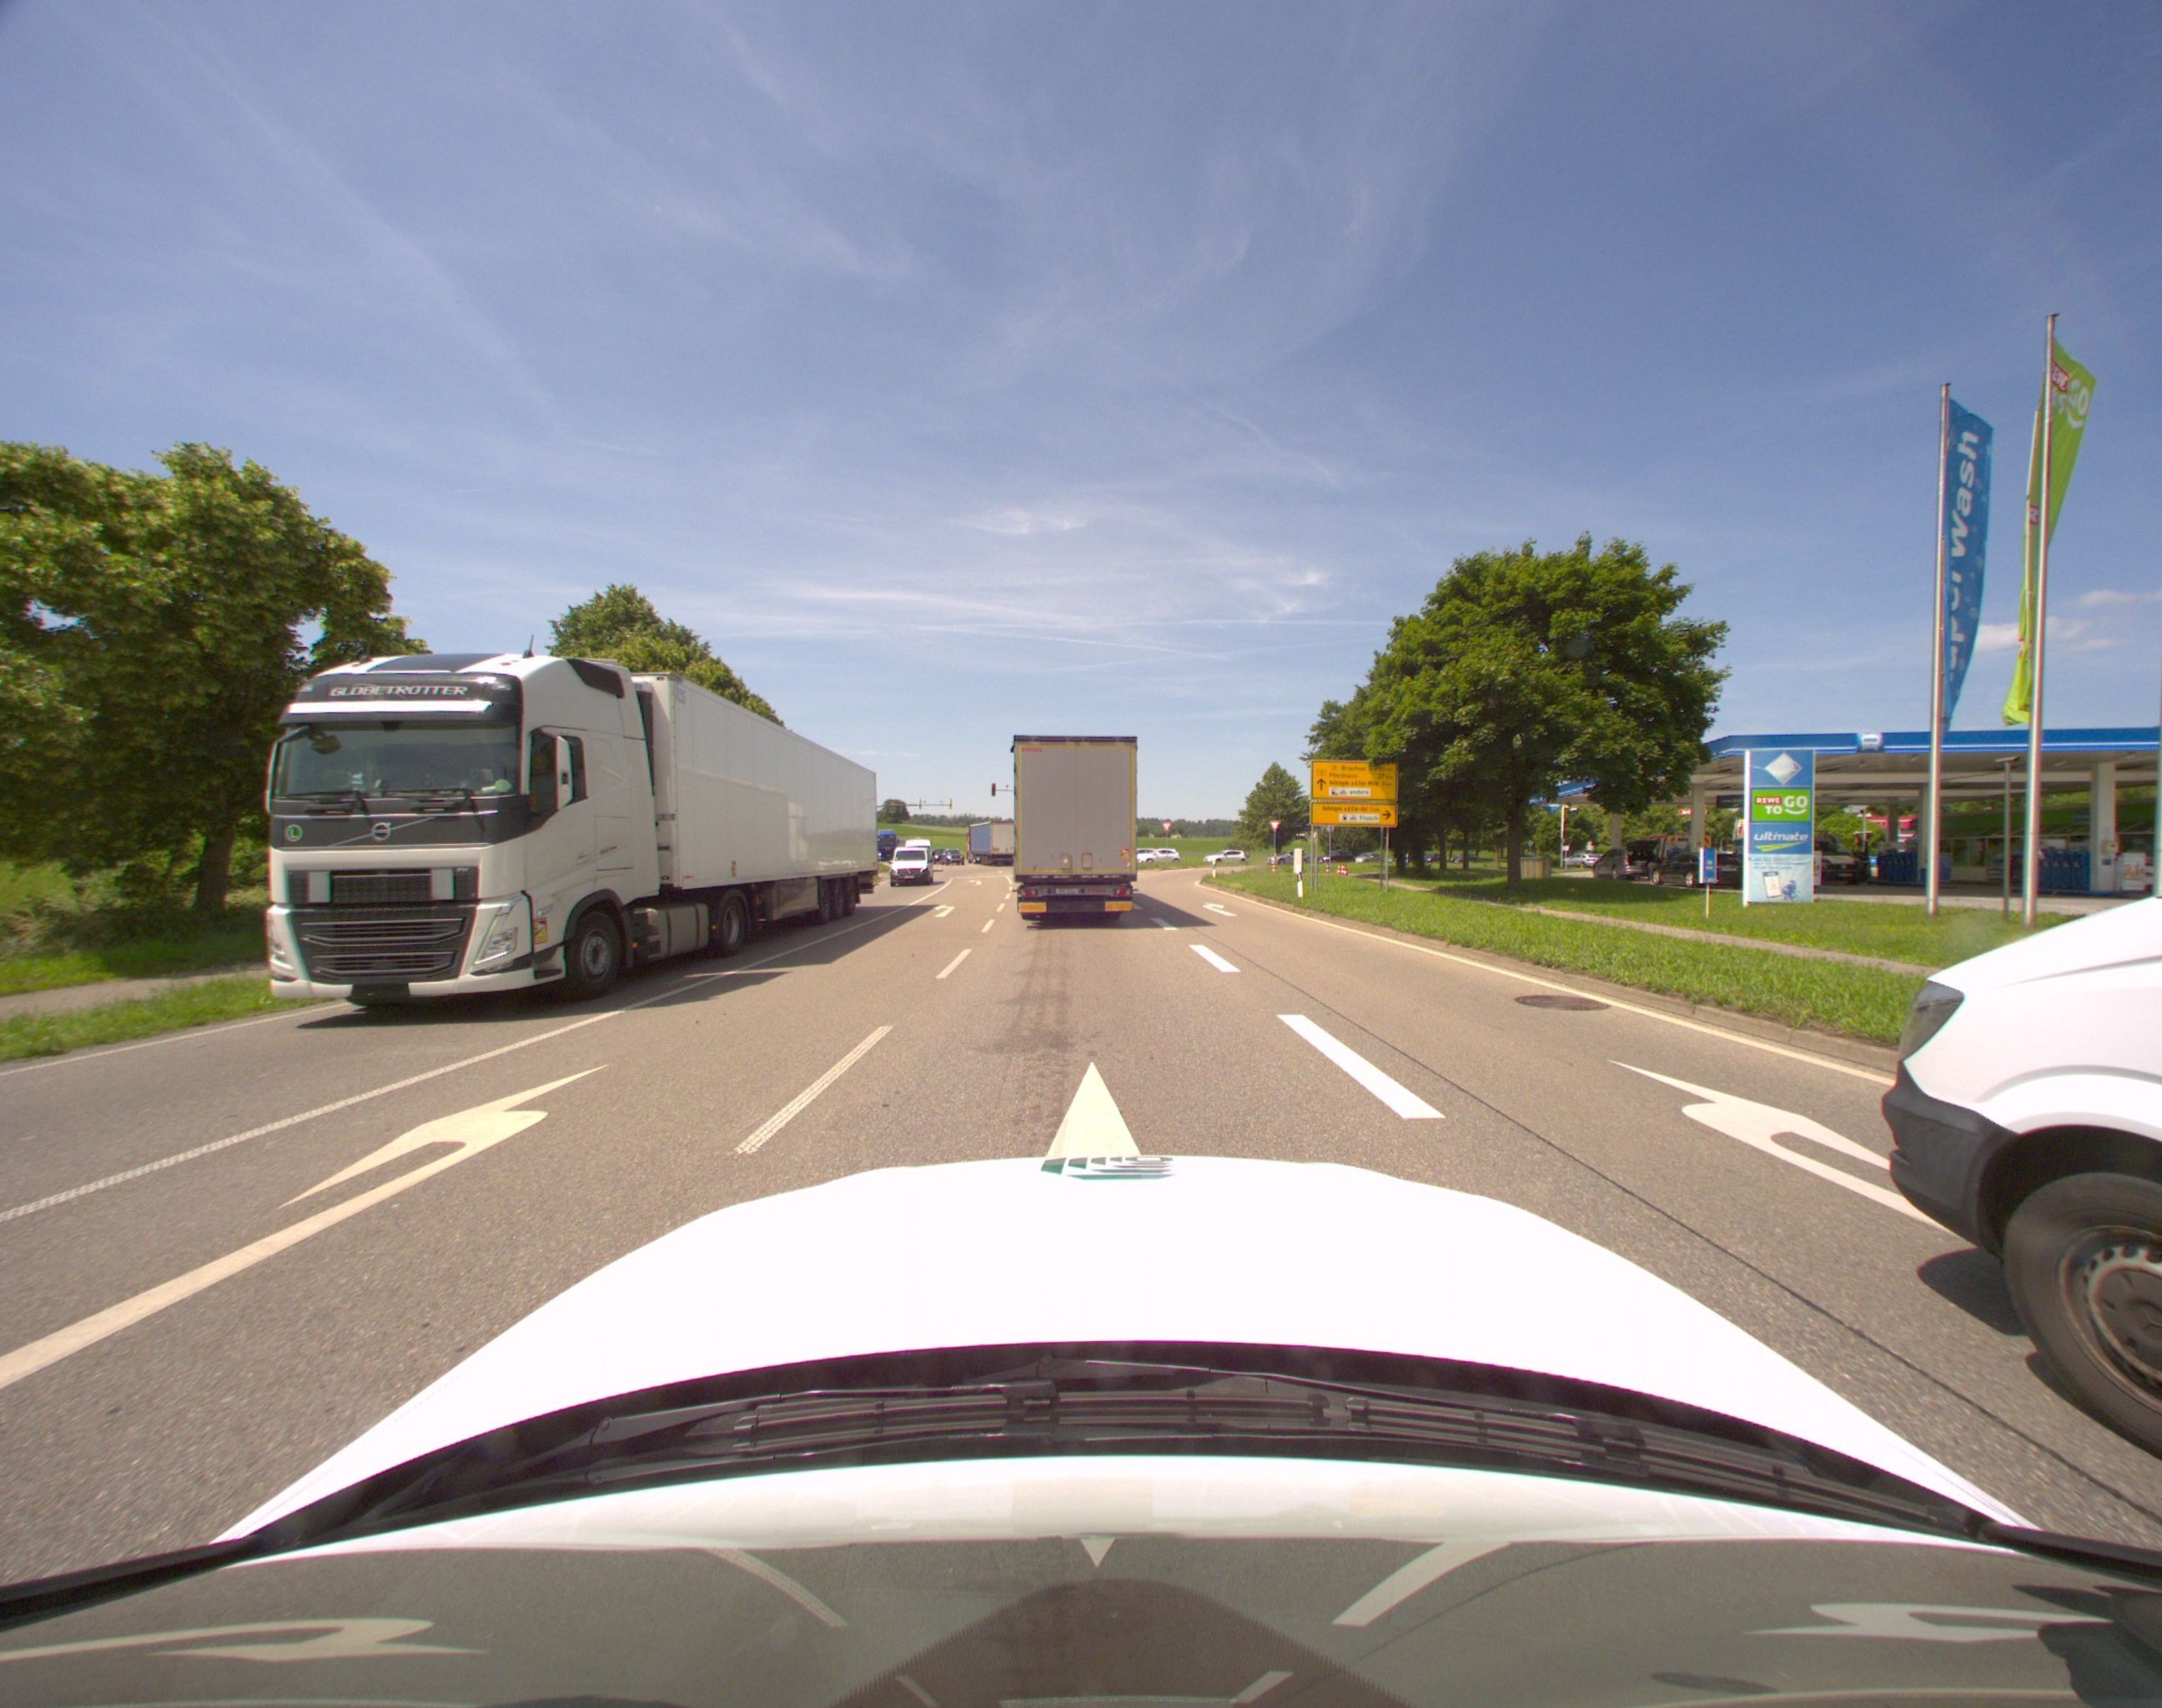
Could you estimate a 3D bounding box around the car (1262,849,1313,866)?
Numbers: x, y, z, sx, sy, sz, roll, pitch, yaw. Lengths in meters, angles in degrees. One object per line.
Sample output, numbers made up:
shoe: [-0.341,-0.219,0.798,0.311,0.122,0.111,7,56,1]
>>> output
car: [19.743,0.367,77.853,4.567,1.510,1.786,1,-2,-24]

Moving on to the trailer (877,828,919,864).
trailer: [-22.193,-0.991,97.953,2.577,4.029,13.492,-1,1,-23]

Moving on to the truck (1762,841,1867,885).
truck: [35.999,0.452,40.148,1.978,2.014,4.833,-1,-1,17]

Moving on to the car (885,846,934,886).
car: [-8.595,0.551,41.204,1.870,1.865,5.131,-1,0,-6]

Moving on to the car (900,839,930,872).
car: [-13.192,0.069,64.587,2.054,2.452,5.244,-2,1,-13]

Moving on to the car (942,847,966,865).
car: [-12.693,0.187,81.236,1.775,1.658,3.978,-1,0,-16]

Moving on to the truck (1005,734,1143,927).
truck: [-0.300,-0.484,21.430,2.801,3.946,9.582,0,0,-2]

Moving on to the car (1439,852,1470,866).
car: [45.236,0.615,98.624,4.315,1.698,1.975,1,-1,-44]

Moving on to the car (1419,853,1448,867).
car: [40.398,0.709,93.307,1.778,1.510,4.258,-1,-2,43]

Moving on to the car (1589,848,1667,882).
car: [27.768,0.559,41.507,2.016,1.603,4.963,-1,-1,18]

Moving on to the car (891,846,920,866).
car: [-17.624,0.229,81.515,1.879,1.886,4.913,-2,0,-23]

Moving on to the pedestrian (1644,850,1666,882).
pedestrian: [27.233,0.571,38.670,0.660,1.497,0.725,-1,-1,20]

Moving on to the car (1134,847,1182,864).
car: [6.936,0.145,73.273,3.966,1.419,1.819,-1,-1,-15]

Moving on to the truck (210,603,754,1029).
truck: [-6.755,-0.386,10.496,2.770,3.943,5.702,-1,0,-1]

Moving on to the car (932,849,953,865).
car: [-14.811,0.298,86.897,1.775,1.658,3.978,-1,0,-16]

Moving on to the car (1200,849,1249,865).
car: [13.318,0.257,75.667,4.107,1.419,1.788,-1,-1,-21]

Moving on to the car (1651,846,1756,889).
car: [25.303,0.529,33.293,1.977,1.621,4.651,-1,-1,18]

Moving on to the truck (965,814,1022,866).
truck: [-8.897,-1.315,80.741,2.967,4.584,16.230,-1,1,-15]

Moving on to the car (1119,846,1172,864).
car: [6.103,0.124,77.259,4.625,1.607,1.992,1,-1,-10]

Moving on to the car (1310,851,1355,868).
car: [24.986,0.564,80.959,4.578,1.510,1.782,2,-2,-33]

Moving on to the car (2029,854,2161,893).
car: [37.895,0.702,29.940,1.886,1.363,4.013,-1,-1,12]

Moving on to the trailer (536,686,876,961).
trailer: [-7.077,-0.472,18.059,2.772,4.102,11.645,-1,0,-4]

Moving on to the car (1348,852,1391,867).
car: [30.024,0.632,84.671,4.578,1.510,1.782,1,-1,-33]
